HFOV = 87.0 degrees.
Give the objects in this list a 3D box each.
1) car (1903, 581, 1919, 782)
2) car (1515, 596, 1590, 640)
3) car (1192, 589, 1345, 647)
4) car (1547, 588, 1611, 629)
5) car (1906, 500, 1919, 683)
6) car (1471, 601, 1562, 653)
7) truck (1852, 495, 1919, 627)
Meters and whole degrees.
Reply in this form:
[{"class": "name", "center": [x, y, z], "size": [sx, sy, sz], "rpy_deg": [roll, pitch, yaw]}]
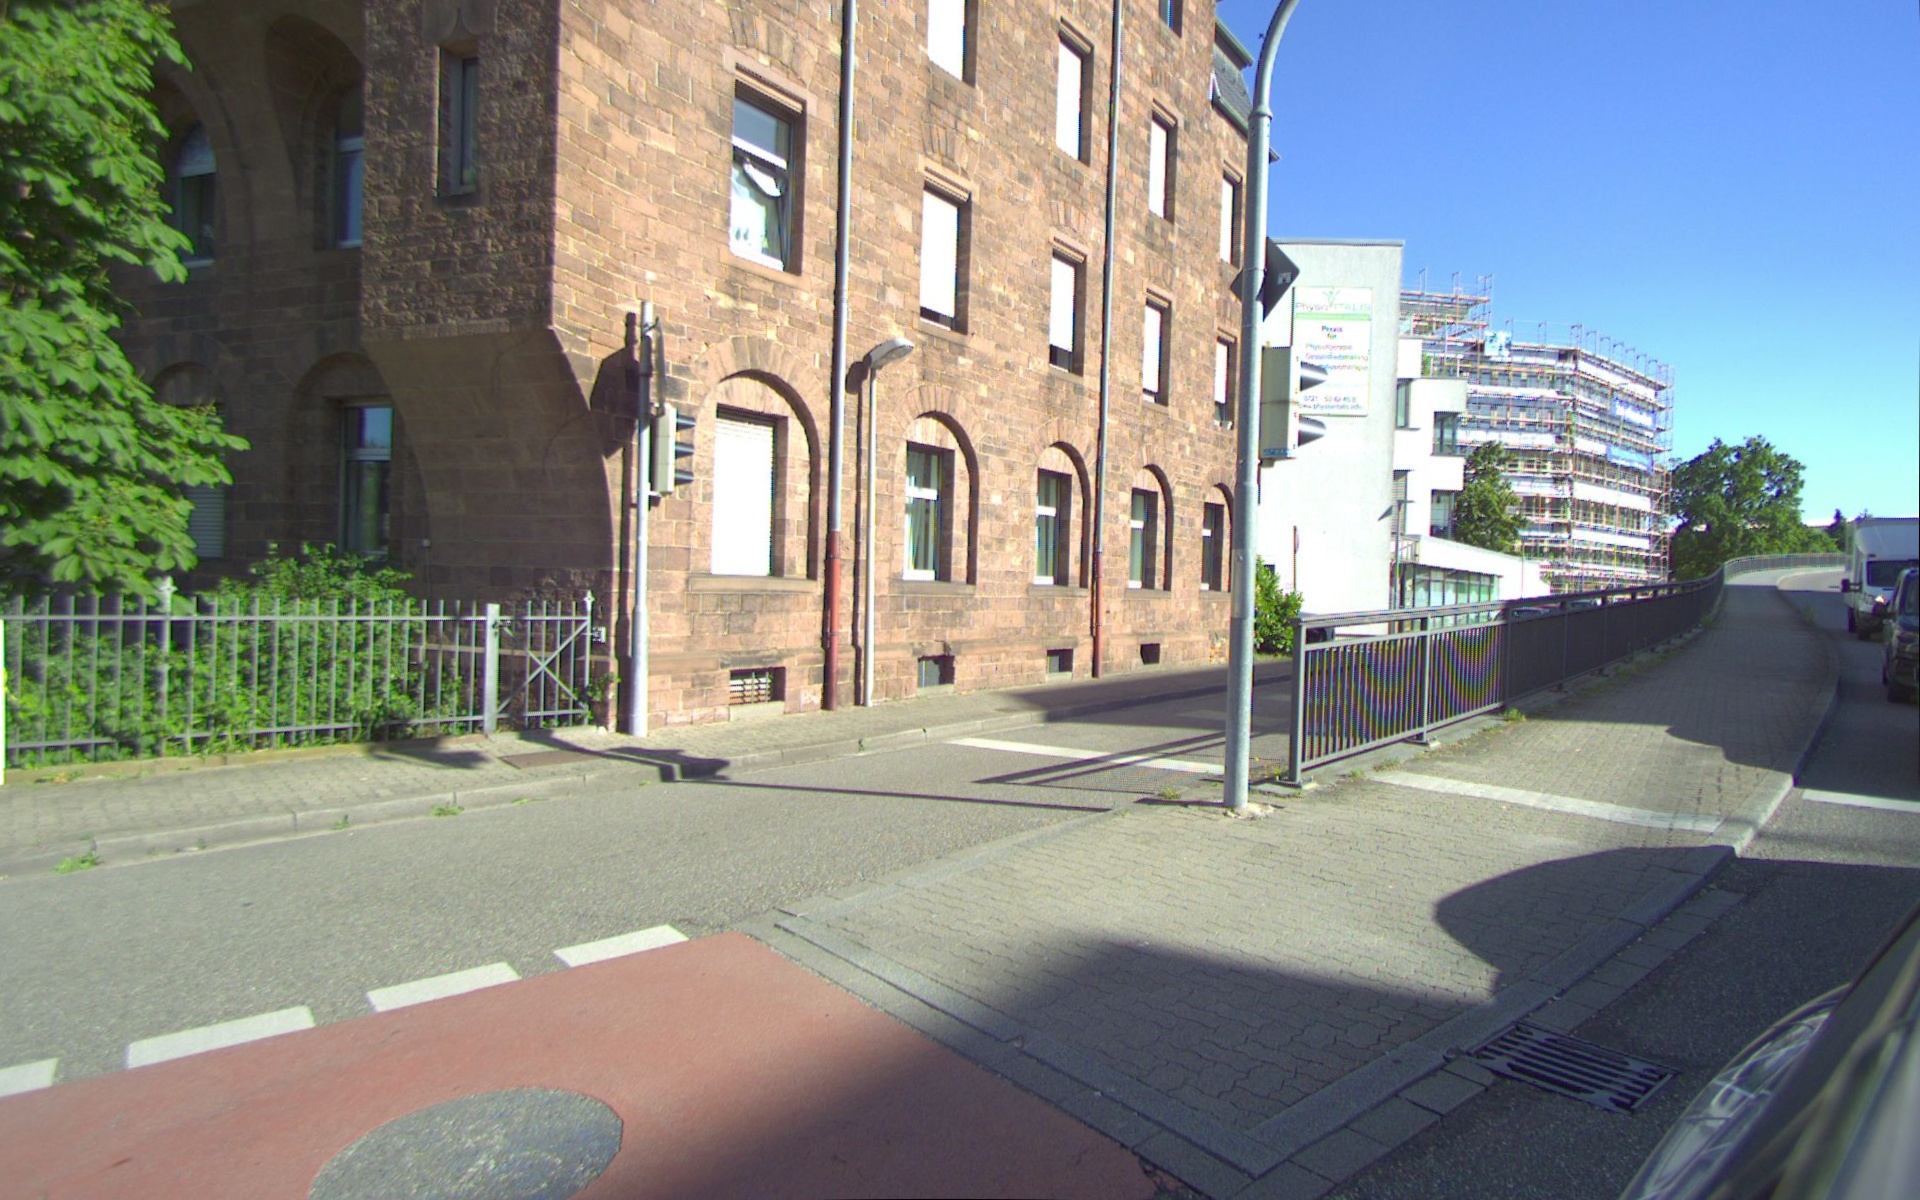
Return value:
[{"class": "car", "center": [9.298, 0.622, 8.525], "size": [1.875, 1.489, 4.562], "rpy_deg": [3, 2, 44]}, {"class": "car", "center": [23.111, 0.682, 39.409], "size": [2.043, 1.551, 4.037], "rpy_deg": [2, 0, 37]}, {"class": "car", "center": [9.121, 0.504, 30.212], "size": [4.020, 1.551, 1.917], "rpy_deg": [2, 0, 5]}, {"class": "car", "center": [27.614, 0.365, 45.074], "size": [2.043, 1.707, 4.037], "rpy_deg": [2, 0, 37]}, {"class": "car", "center": [14.259, -0.045, 13.767], "size": [1.945, 2.290, 4.710], "rpy_deg": [2, 1, 43]}, {"class": "car", "center": [18.590, 0.857, 33.745], "size": [2.043, 1.551, 4.036], "rpy_deg": [2, 0, 38]}, {"class": "truck", "center": [25.349, -0.892, 26.796], "size": [2.495, 3.167, 6.855], "rpy_deg": [2, 1, 41]}]
